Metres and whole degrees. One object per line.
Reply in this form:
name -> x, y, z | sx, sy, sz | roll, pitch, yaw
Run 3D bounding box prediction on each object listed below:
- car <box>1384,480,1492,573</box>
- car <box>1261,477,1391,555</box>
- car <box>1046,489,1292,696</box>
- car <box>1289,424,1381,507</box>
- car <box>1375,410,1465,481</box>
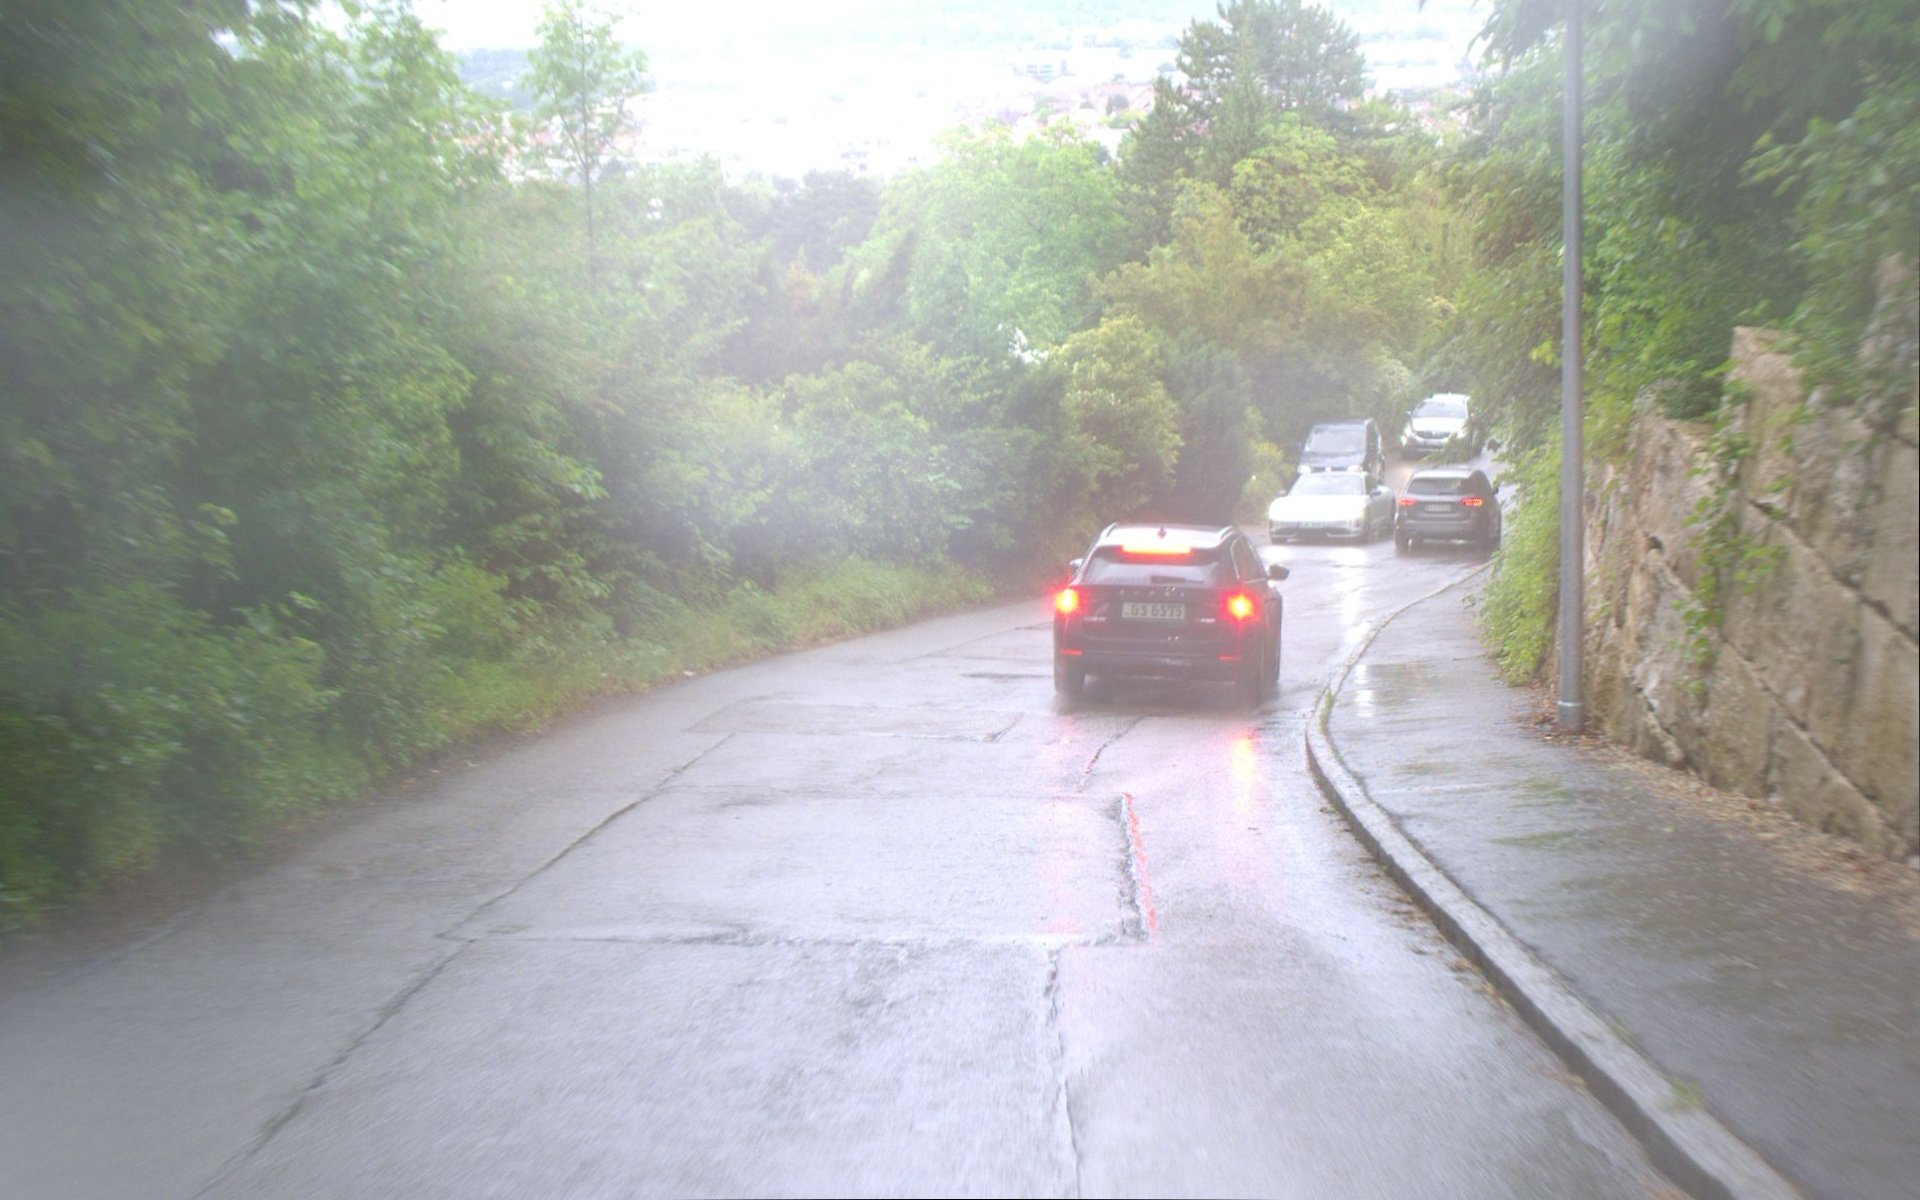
car -> 9.407, -1.431, 67.446 | 1.864, 1.737, 3.998 | 1, 1, 11
car -> 7.528, -1.699, 70.299 | 1.942, 1.517, 4.576 | 1, 1, 15
car -> 1.878, -0.122, 29.805 | 1.700, 1.445, 4.000 | 0, 5, 10
car -> 9.163, -3.304, 83.769 | 1.690, 1.776, 4.231 | 0, 5, 14
car -> 12.497, -4.205, 93.243 | 2.049, 1.595, 4.228 | 2, 7, 12
